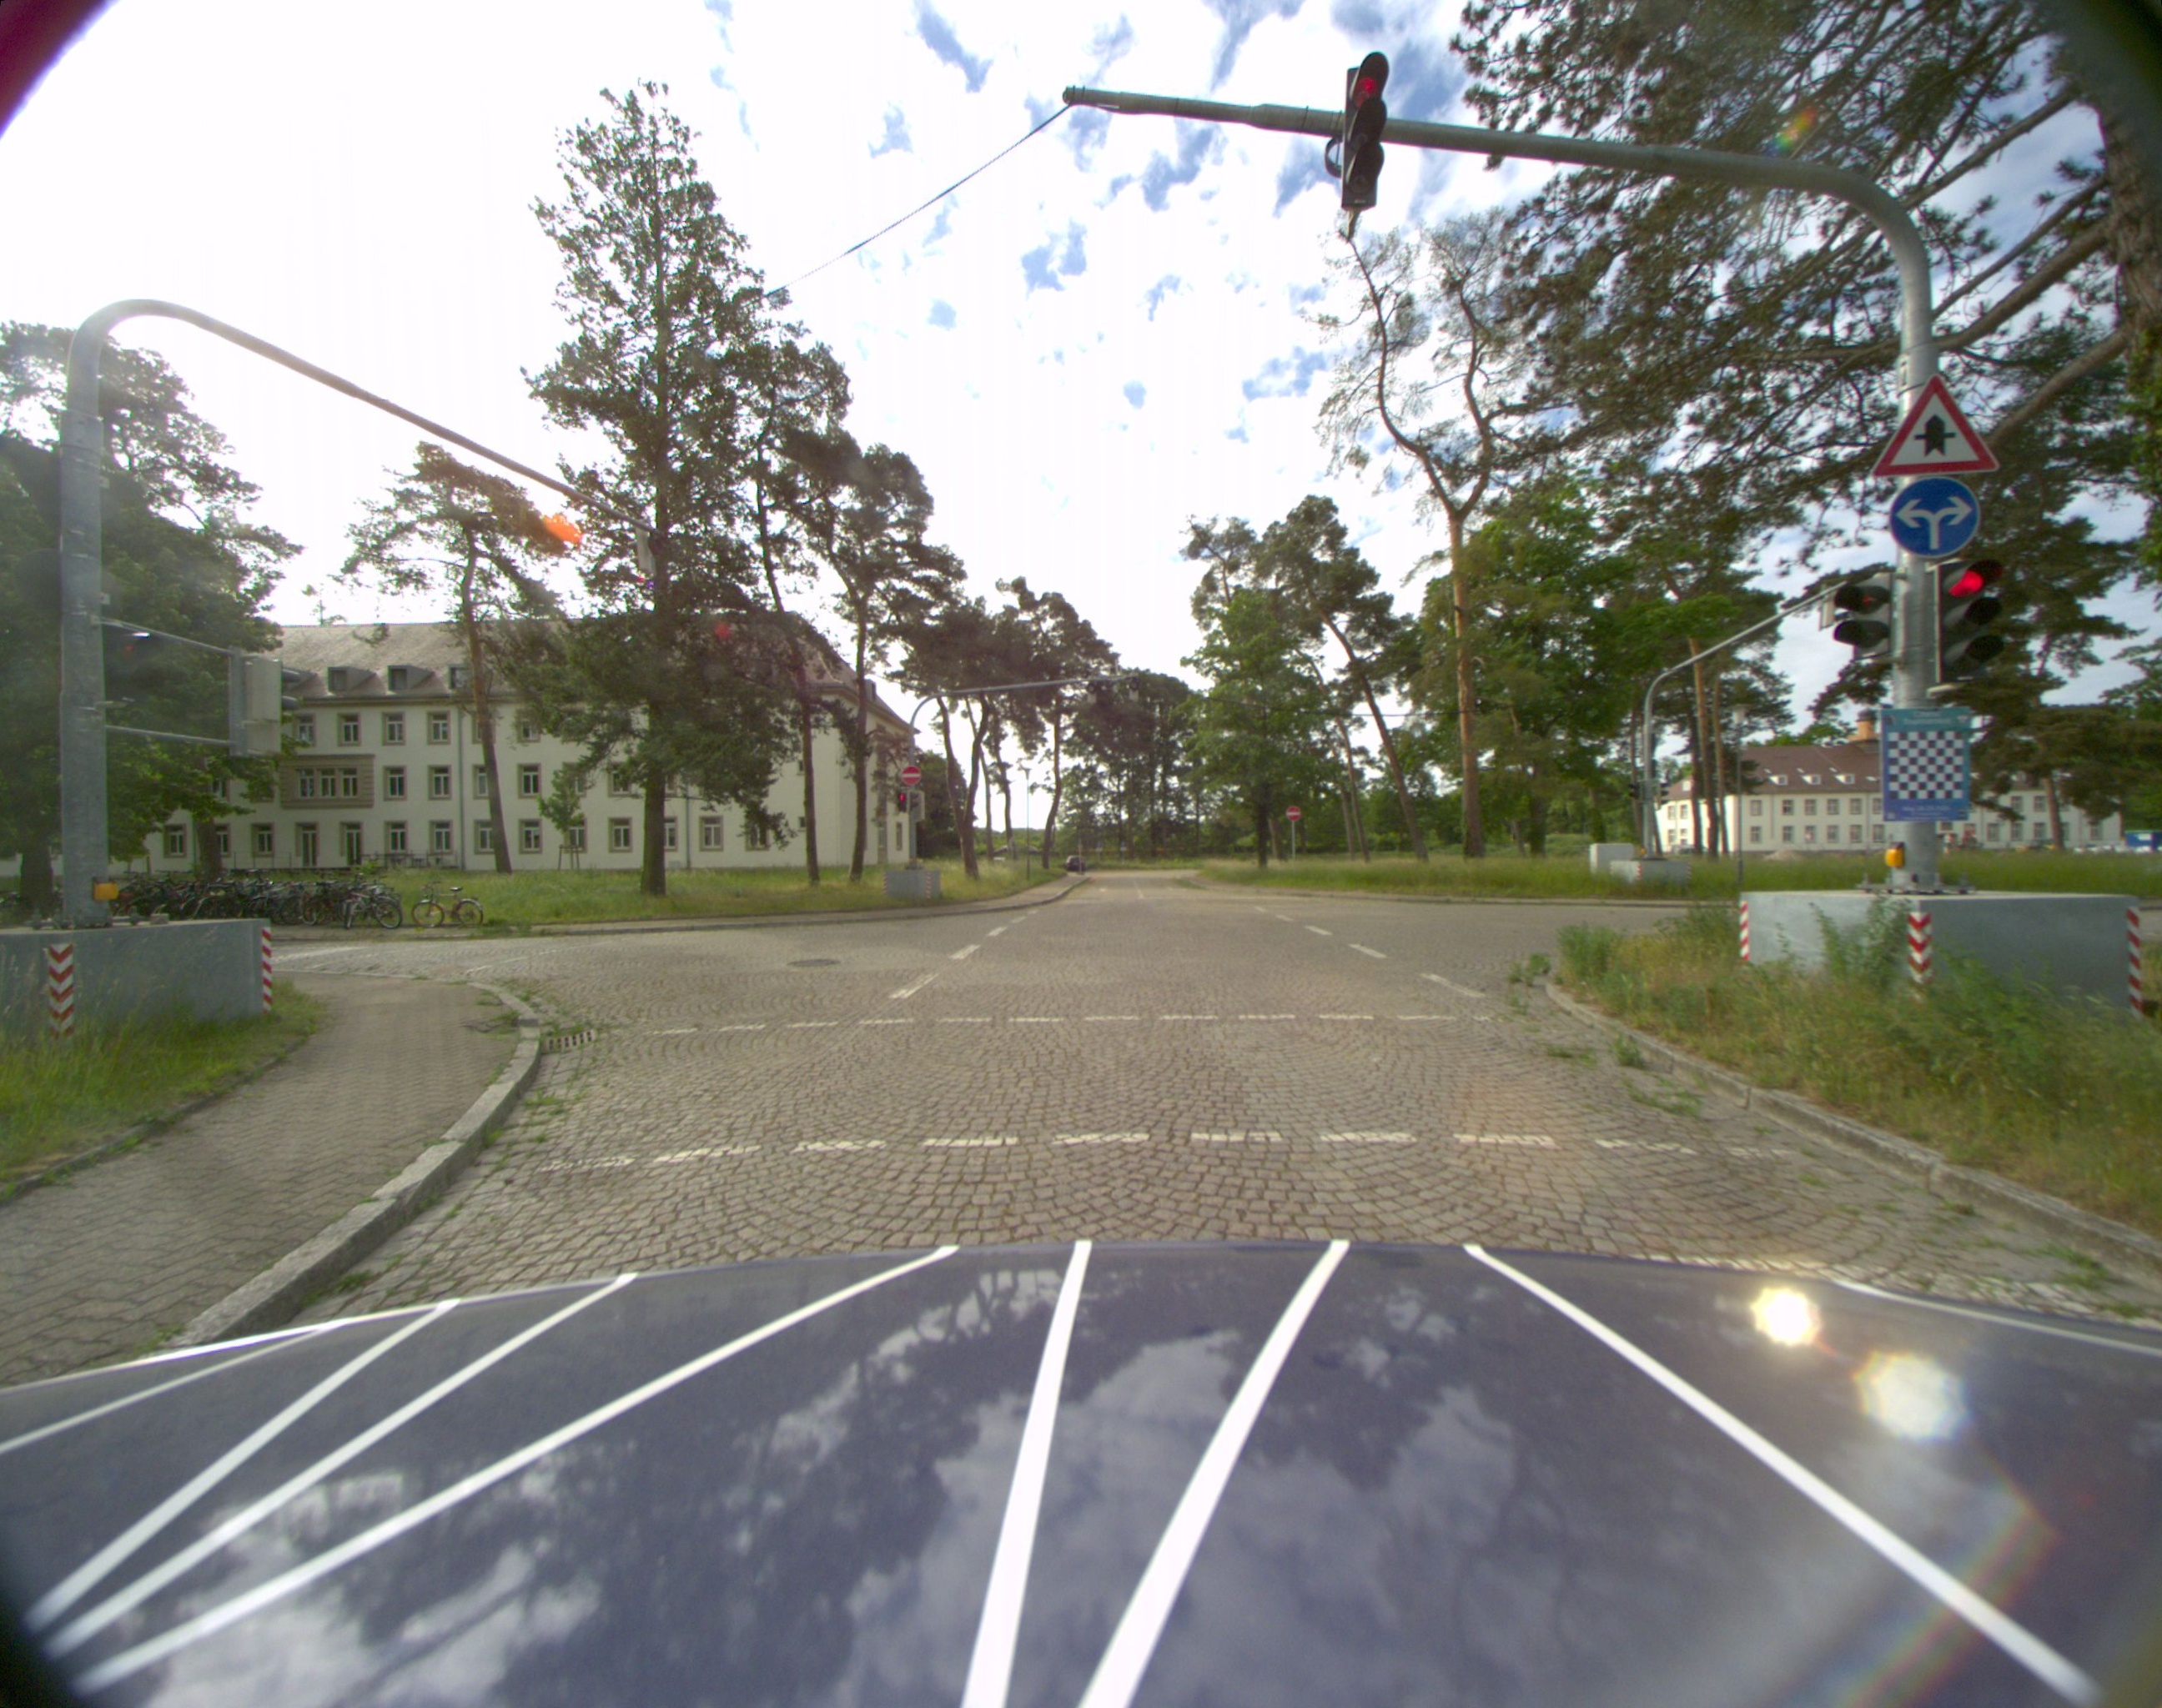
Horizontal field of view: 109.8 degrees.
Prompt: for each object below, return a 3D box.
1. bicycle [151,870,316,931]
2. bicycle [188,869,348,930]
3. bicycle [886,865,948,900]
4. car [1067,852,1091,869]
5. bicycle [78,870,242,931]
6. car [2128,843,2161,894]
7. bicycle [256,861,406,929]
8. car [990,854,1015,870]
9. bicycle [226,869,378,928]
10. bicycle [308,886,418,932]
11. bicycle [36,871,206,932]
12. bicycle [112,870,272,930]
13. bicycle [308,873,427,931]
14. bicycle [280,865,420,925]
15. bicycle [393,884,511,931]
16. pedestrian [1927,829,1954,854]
[{"bbox_3d":[-21.545,1.130,19.456,0.950,1.364,2.812,-1,0,3],"label":"bicycle"},{"bbox_3d":[-20.651,1.111,19.442,0.950,1.364,2.812,-1,0,3],"label":"bicycle"},{"bbox_3d":[-5.285,0.923,24.559,1.832,1.057,0.646,-1,4,0],"label":"bicycle"},{"bbox_3d":[-0.163,0.614,73.825,1.998,1.524,4.001,-1,0,5],"label":"car"},{"bbox_3d":[-23.354,1.138,19.383,0.950,1.364,2.576,-1,0,2],"label":"bicycle"},{"bbox_3d":[31.121,0.412,19.989,1.794,1.410,4.001,-1,1,5],"label":"car"},{"bbox_3d":[-19.179,0.988,19.568,0.950,1.574,2.812,-1,0,3],"label":"bicycle"},{"bbox_3d":[-7.736,0.748,74.974,1.771,1.524,3.695,-1,0,5],"label":"car"},{"bbox_3d":[-20.098,1.105,19.744,0.950,1.364,2.812,-1,0,3],"label":"bicycle"},{"bbox_3d":[-16.531,1.253,17.511,1.976,0.991,0.730,-1,1,7],"label":"bicycle"},{"bbox_3d":[-24.200,1.154,19.259,0.950,1.364,2.576,-1,0,2],"label":"bicycle"},{"bbox_3d":[-22.515,1.120,19.355,0.950,1.364,2.576,-1,0,2],"label":"bicycle"},{"bbox_3d":[-17.731,1.151,18.960,0.873,1.299,2.120,-1,0,3],"label":"bicycle"},{"bbox_3d":[-18.332,0.992,19.179,0.873,1.359,2.628,-1,0,3],"label":"bicycle"},{"bbox_3d":[-14.439,1.208,17.485,1.977,0.991,0.903,-1,1,2],"label":"bicycle"},{"bbox_3d":[76.565,-1.130,67.711,1.055,2.165,1.185,-1,1,4],"label":"pedestrian"}]
